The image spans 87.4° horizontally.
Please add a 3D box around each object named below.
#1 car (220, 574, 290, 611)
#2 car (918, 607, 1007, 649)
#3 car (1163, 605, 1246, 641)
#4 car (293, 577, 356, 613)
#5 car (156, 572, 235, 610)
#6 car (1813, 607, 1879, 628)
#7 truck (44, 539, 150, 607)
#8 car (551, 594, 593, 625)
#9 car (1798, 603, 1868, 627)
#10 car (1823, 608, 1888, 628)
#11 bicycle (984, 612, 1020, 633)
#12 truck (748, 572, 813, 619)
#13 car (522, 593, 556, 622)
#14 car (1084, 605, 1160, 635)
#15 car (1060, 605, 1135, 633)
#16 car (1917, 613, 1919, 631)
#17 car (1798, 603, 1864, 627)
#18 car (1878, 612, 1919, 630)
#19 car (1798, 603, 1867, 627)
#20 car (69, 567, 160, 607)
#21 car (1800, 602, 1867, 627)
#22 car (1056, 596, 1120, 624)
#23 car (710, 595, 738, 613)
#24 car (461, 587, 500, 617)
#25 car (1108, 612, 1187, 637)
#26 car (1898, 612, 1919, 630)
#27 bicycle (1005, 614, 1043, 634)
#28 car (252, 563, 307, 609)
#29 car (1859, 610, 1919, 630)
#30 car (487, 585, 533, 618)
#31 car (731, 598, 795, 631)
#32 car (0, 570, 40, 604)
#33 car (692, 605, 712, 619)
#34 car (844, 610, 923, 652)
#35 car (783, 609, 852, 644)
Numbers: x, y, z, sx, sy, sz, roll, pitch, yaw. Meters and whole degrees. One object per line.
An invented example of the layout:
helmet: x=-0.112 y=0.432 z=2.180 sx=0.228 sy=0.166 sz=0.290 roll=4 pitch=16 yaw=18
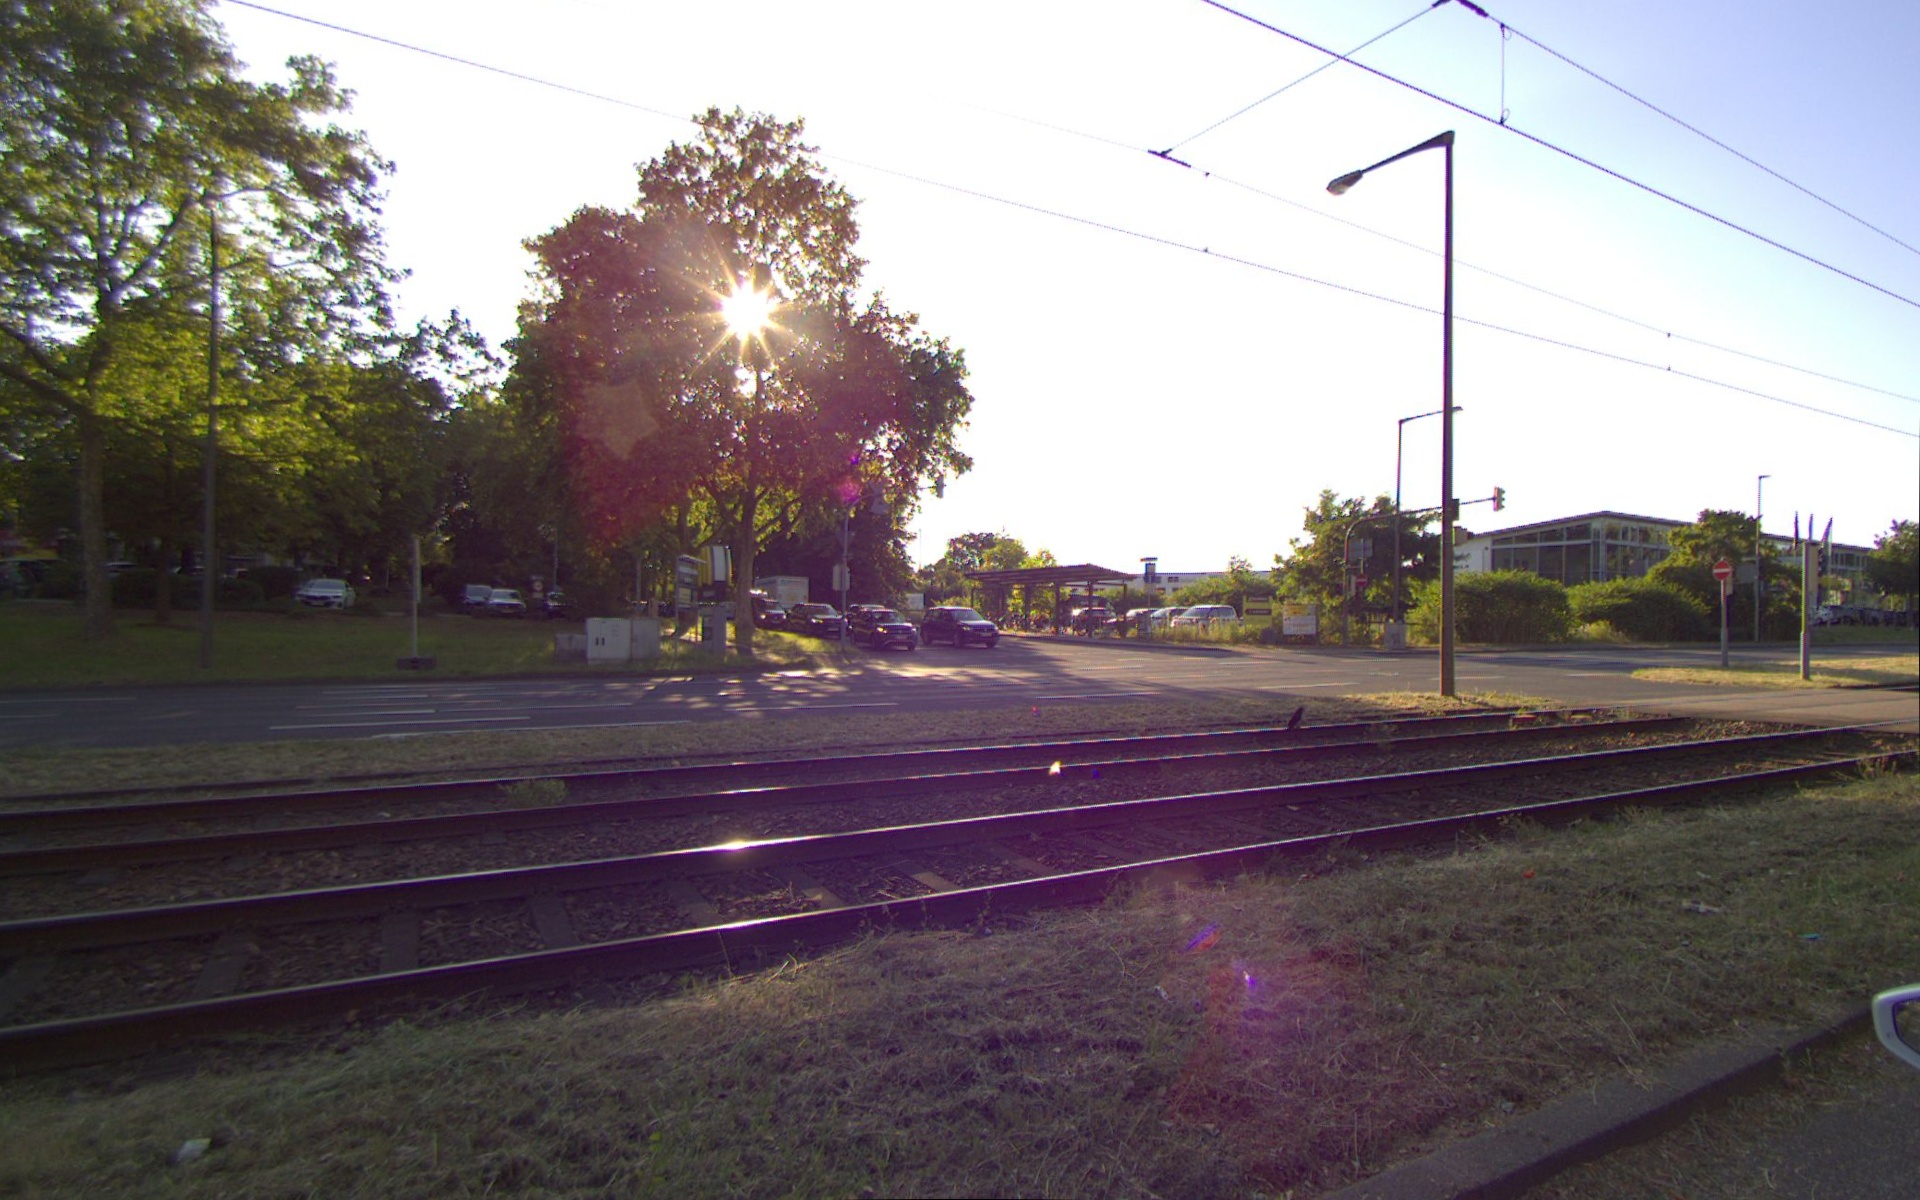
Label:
car: x=-31.570 y=-0.318 z=45.080 sx=1.916 sy=1.530 sz=4.071 roll=2 pitch=0 yaw=-26
car: x=0.045 y=1.119 z=42.279 sx=1.856 sy=1.656 sz=4.336 roll=1 pitch=0 yaw=-29
car: x=12.909 y=1.192 z=53.066 sx=4.123 sy=1.846 sz=1.853 roll=1 pitch=1 yaw=-30
car: x=-28.889 y=-0.226 z=45.763 sx=1.916 sy=1.530 sz=4.071 roll=2 pitch=0 yaw=-26
car: x=-33.413 y=-0.384 z=44.008 sx=1.916 sy=1.530 sz=4.071 roll=2 pitch=0 yaw=-26
car: x=72.534 y=1.397 z=82.278 sx=3.940 sy=1.577 sz=1.735 roll=1 pitch=0 yaw=40
truck: x=-43.972 y=-1.320 z=51.386 sx=2.468 sy=3.209 sz=6.187 roll=2 pitch=0 yaw=-26
car: x=-19.895 y=0.480 z=51.464 sx=1.604 sy=1.477 sz=3.878 roll=2 pitch=0 yaw=-27
car: x=65.725 y=1.124 z=75.704 sx=3.940 sy=1.727 sz=1.735 roll=1 pitch=0 yaw=40
car: x=74.754 y=1.483 z=83.946 sx=3.940 sy=1.577 sz=1.735 roll=1 pitch=0 yaw=40
bicycle: x=2.474 y=1.332 z=59.378 sx=2.004 sy=1.119 sz=0.777 roll=2 pitch=0 yaw=-30
truck: x=-14.429 y=-0.374 z=80.155 sx=2.782 sy=3.520 sz=8.291 roll=0 pitch=0 yaw=-27
car: x=-25.612 y=0.459 z=61.056 sx=1.836 sy=1.637 sz=4.036 roll=2 pitch=0 yaw=-23
car: x=9.367 y=1.148 z=58.129 sx=4.123 sy=1.604 sz=1.853 roll=1 pitch=0 yaw=-30
car: x=8.262 y=1.153 z=60.323 sx=4.123 sy=1.604 sz=1.968 roll=1 pitch=0 yaw=-30
car: x=91.844 y=2.078 z=93.359 sx=1.725 sy=1.642 sz=3.962 roll=1 pitch=0 yaw=-34
car: x=70.107 y=1.171 z=80.960 sx=3.940 sy=1.840 sz=1.735 roll=1 pitch=0 yaw=40
car: x=85.458 y=1.875 z=90.339 sx=1.726 sy=1.577 sz=3.960 roll=1 pitch=0 yaw=-35
car: x=67.271 y=1.166 z=77.504 sx=3.940 sy=1.727 sz=1.735 roll=1 pitch=0 yaw=40
car: x=-35.544 y=-0.537 z=42.344 sx=1.916 sy=1.530 sz=4.071 roll=2 pitch=0 yaw=-26
car: x=68.908 y=1.156 z=79.316 sx=3.940 sy=1.840 sz=1.735 roll=1 pitch=0 yaw=40
car: x=9.831 y=0.758 z=76.993 sx=4.714 sy=2.041 sz=1.853 roll=1 pitch=1 yaw=-30
car: x=-22.351 y=0.382 z=95.080 sx=1.711 sy=1.603 sz=4.028 roll=0 pitch=0 yaw=-27
car: x=-28.029 y=0.090 z=58.819 sx=1.836 sy=1.637 sz=4.036 roll=2 pitch=0 yaw=-23
car: x=10.486 y=1.352 z=56.198 sx=4.123 sy=1.284 sz=1.853 roll=1 pitch=0 yaw=-30
car: x=88.928 y=1.972 z=92.079 sx=1.725 sy=1.642 sz=3.962 roll=1 pitch=0 yaw=-34
bicycle: x=3.616 y=1.357 z=56.742 sx=2.004 sy=1.119 sz=0.777 roll=2 pitch=0 yaw=-30
car: x=-36.755 y=-0.754 z=54.330 sx=2.138 sy=2.334 sz=4.369 roll=2 pitch=0 yaw=-31
car: x=82.312 y=1.763 z=88.846 sx=1.728 sy=1.577 sz=3.957 roll=1 pitch=0 yaw=-37
car: x=-22.391 y=0.078 z=49.914 sx=1.916 sy=1.530 sz=4.071 roll=2 pitch=0 yaw=-26
car: x=-10.521 y=0.777 z=53.550 sx=1.824 sy=1.656 sz=4.270 roll=1 pitch=0 yaw=-34
car: x=-43.437 y=-0.630 z=44.420 sx=3.678 sy=1.482 sz=1.662 roll=3 pitch=0 yaw=-28
car: x=-32.345 y=1.495 z=125.958 sx=1.887 sy=1.602 sz=4.036 roll=2 pitch=0 yaw=-21
car: x=-3.069 y=1.214 z=39.820 sx=1.735 sy=1.578 sz=3.945 roll=1 pitch=-2 yaw=-27
car: x=-6.731 y=1.202 z=47.137 sx=1.717 sy=1.565 sz=4.298 roll=0 pitch=0 yaw=-31
